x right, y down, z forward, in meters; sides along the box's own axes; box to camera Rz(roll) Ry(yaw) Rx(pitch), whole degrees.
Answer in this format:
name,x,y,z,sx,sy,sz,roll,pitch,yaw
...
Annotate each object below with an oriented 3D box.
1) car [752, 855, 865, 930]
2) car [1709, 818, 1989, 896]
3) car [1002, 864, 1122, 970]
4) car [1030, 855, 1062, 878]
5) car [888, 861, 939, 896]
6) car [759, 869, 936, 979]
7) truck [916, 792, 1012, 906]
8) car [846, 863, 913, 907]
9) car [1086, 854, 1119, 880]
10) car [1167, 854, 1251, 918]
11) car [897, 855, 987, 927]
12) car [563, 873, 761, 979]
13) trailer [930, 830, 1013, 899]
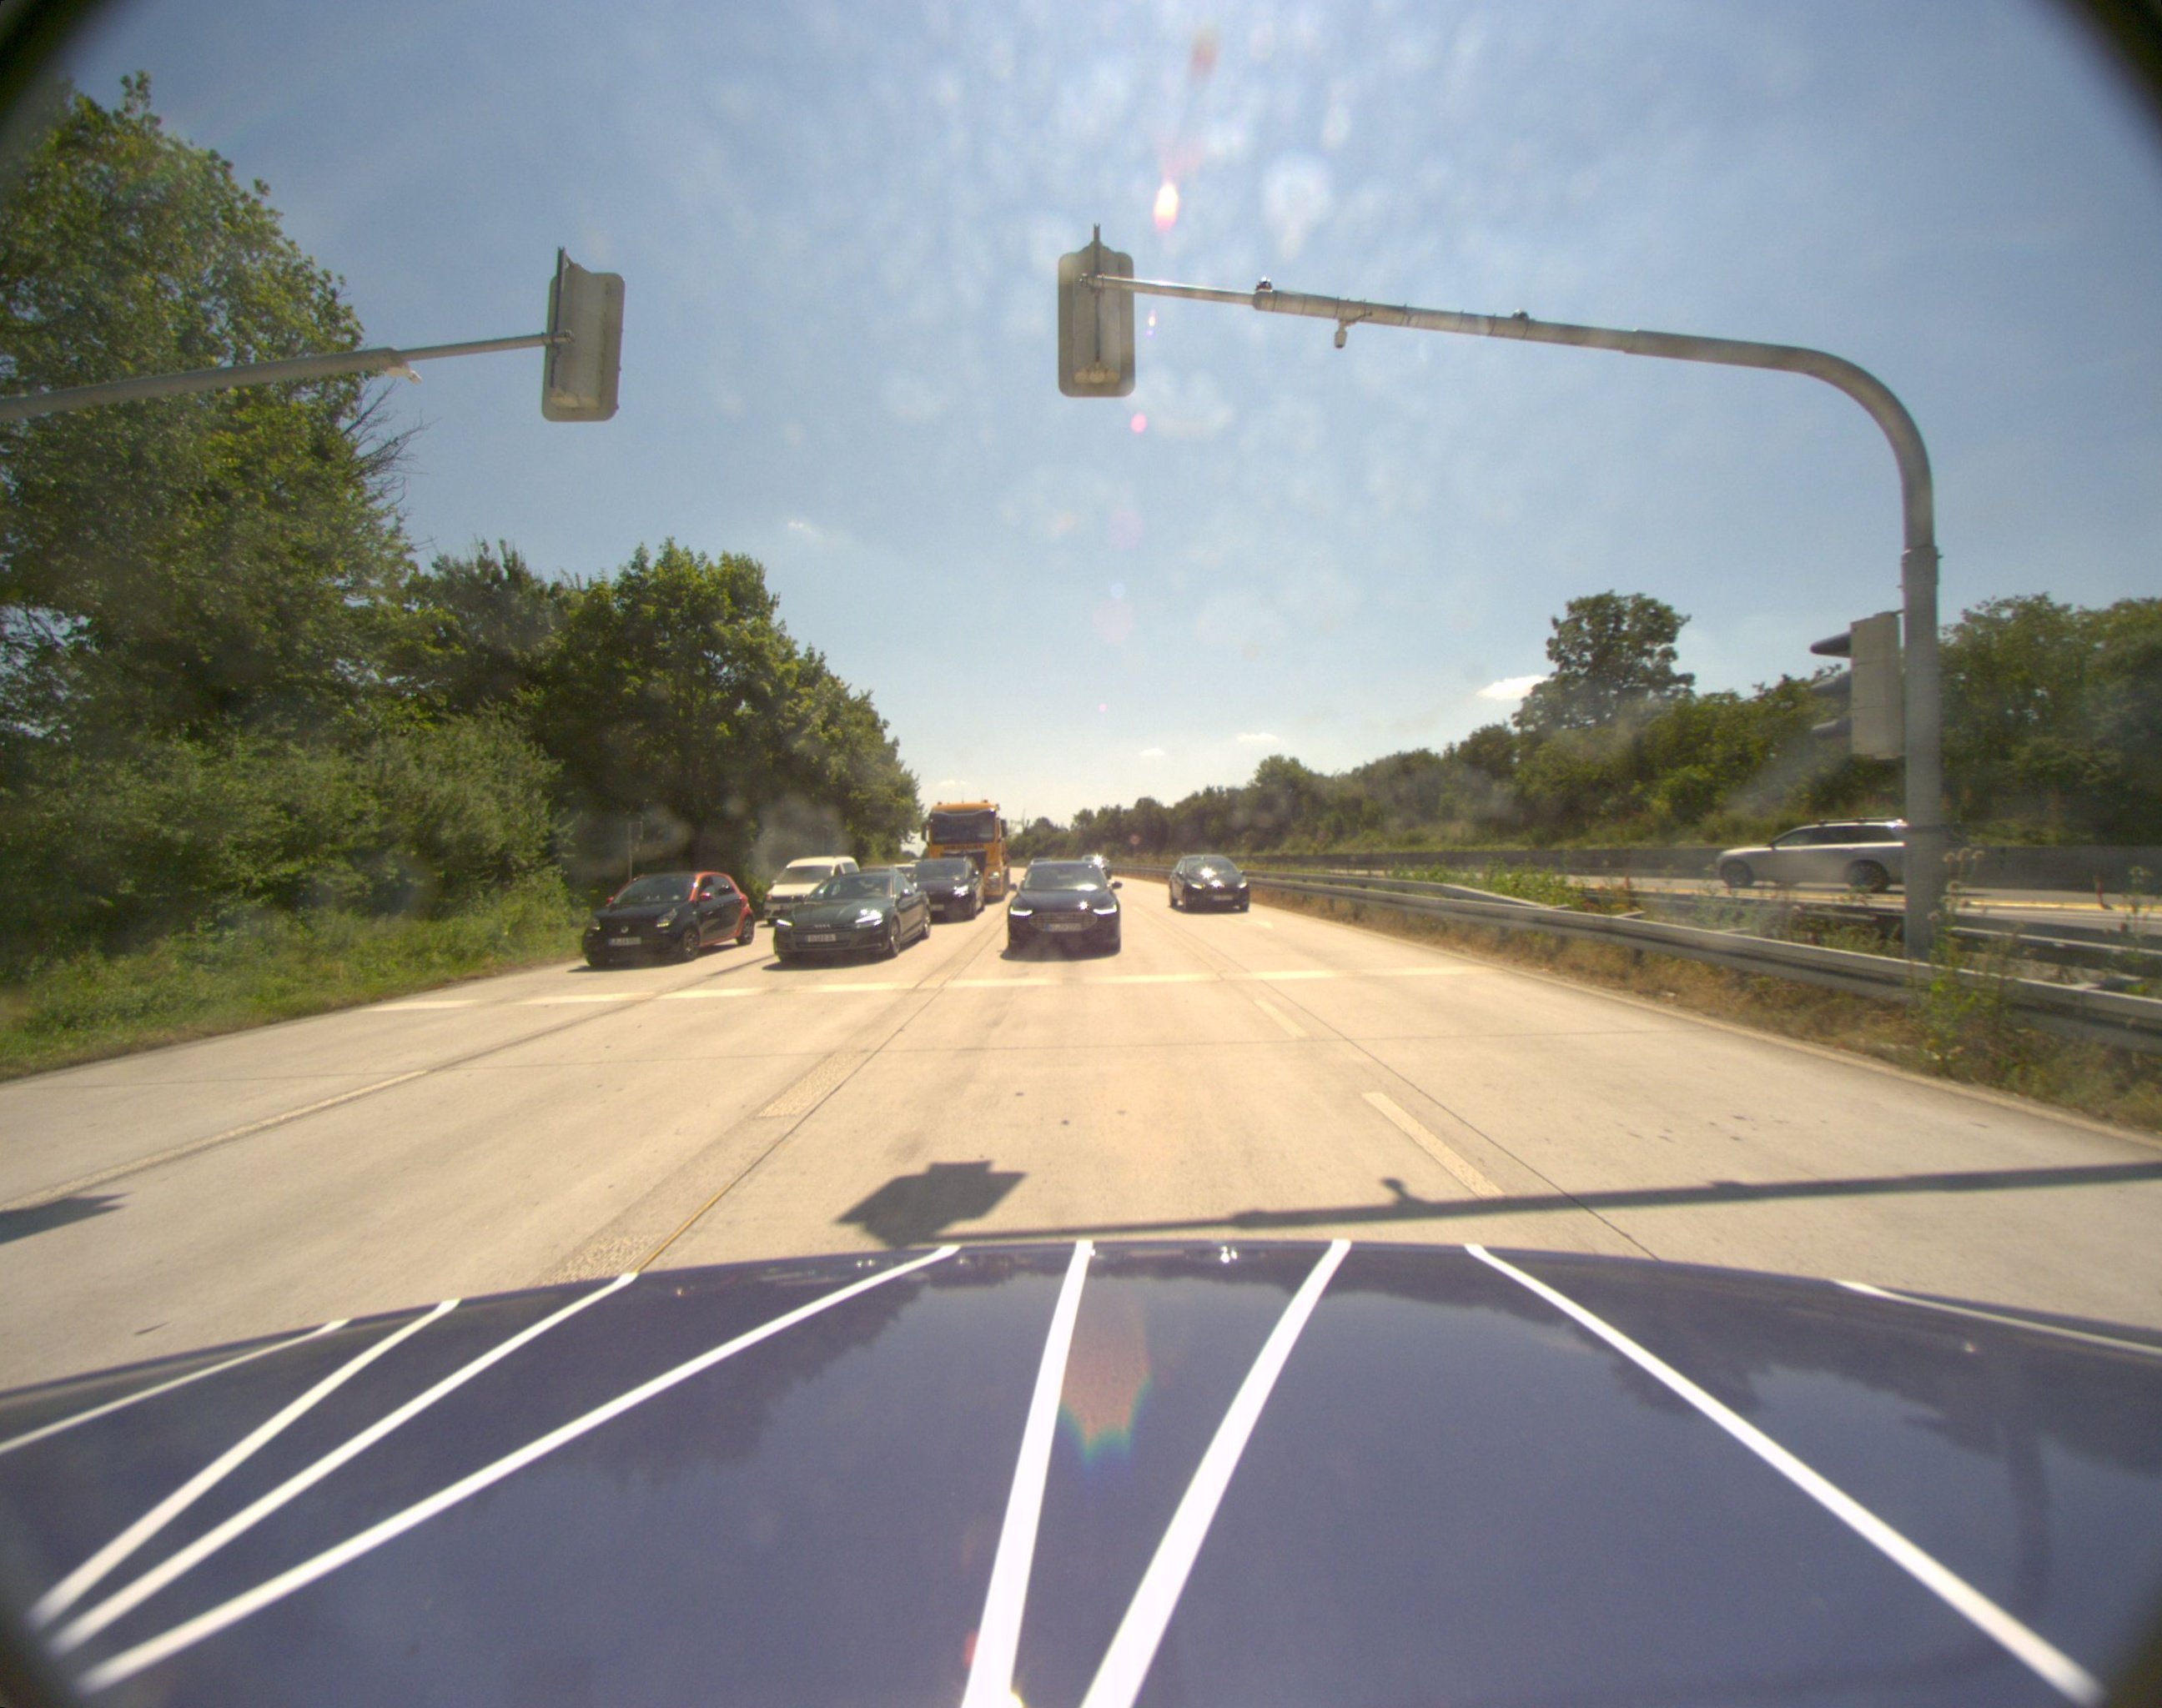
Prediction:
name,x,y,z,sx,sy,sz,roll,pitch,yaw
car,-7.717,0.996,22.047,1.773,1.797,4.790,-2,1,-4
car,19.728,0.053,19.912,2.001,1.762,4.852,-2,1,-12
car,-0.301,0.966,13.440,1.731,1.430,4.303,-2,0,-1
car,-2.455,0.826,52.854,1.891,1.456,3.997,-2,1,-6
car,-7.940,1.107,36.322,1.773,1.454,4.595,-2,1,-6
car,-3.870,1.080,13.479,1.772,1.402,4.608,-2,1,-2
truck,-4.288,-0.188,29.429,3.022,3.751,7.465,-2,1,-5
car,-7.819,1.140,29.850,1.773,1.454,4.362,-2,1,-5
car,1.294,0.801,47.816,1.706,1.456,3.998,-2,1,-3
car,3.423,0.797,20.967,1.627,1.476,3.999,-2,1,1
car,-3.659,0.888,20.778,1.789,1.630,4.645,-2,1,-3
car,-7.424,1.189,13.912,1.773,1.501,3.649,-2,1,-4
trailer,-4.968,0.409,37.765,3.036,2.578,16.348,-2,0,-5
